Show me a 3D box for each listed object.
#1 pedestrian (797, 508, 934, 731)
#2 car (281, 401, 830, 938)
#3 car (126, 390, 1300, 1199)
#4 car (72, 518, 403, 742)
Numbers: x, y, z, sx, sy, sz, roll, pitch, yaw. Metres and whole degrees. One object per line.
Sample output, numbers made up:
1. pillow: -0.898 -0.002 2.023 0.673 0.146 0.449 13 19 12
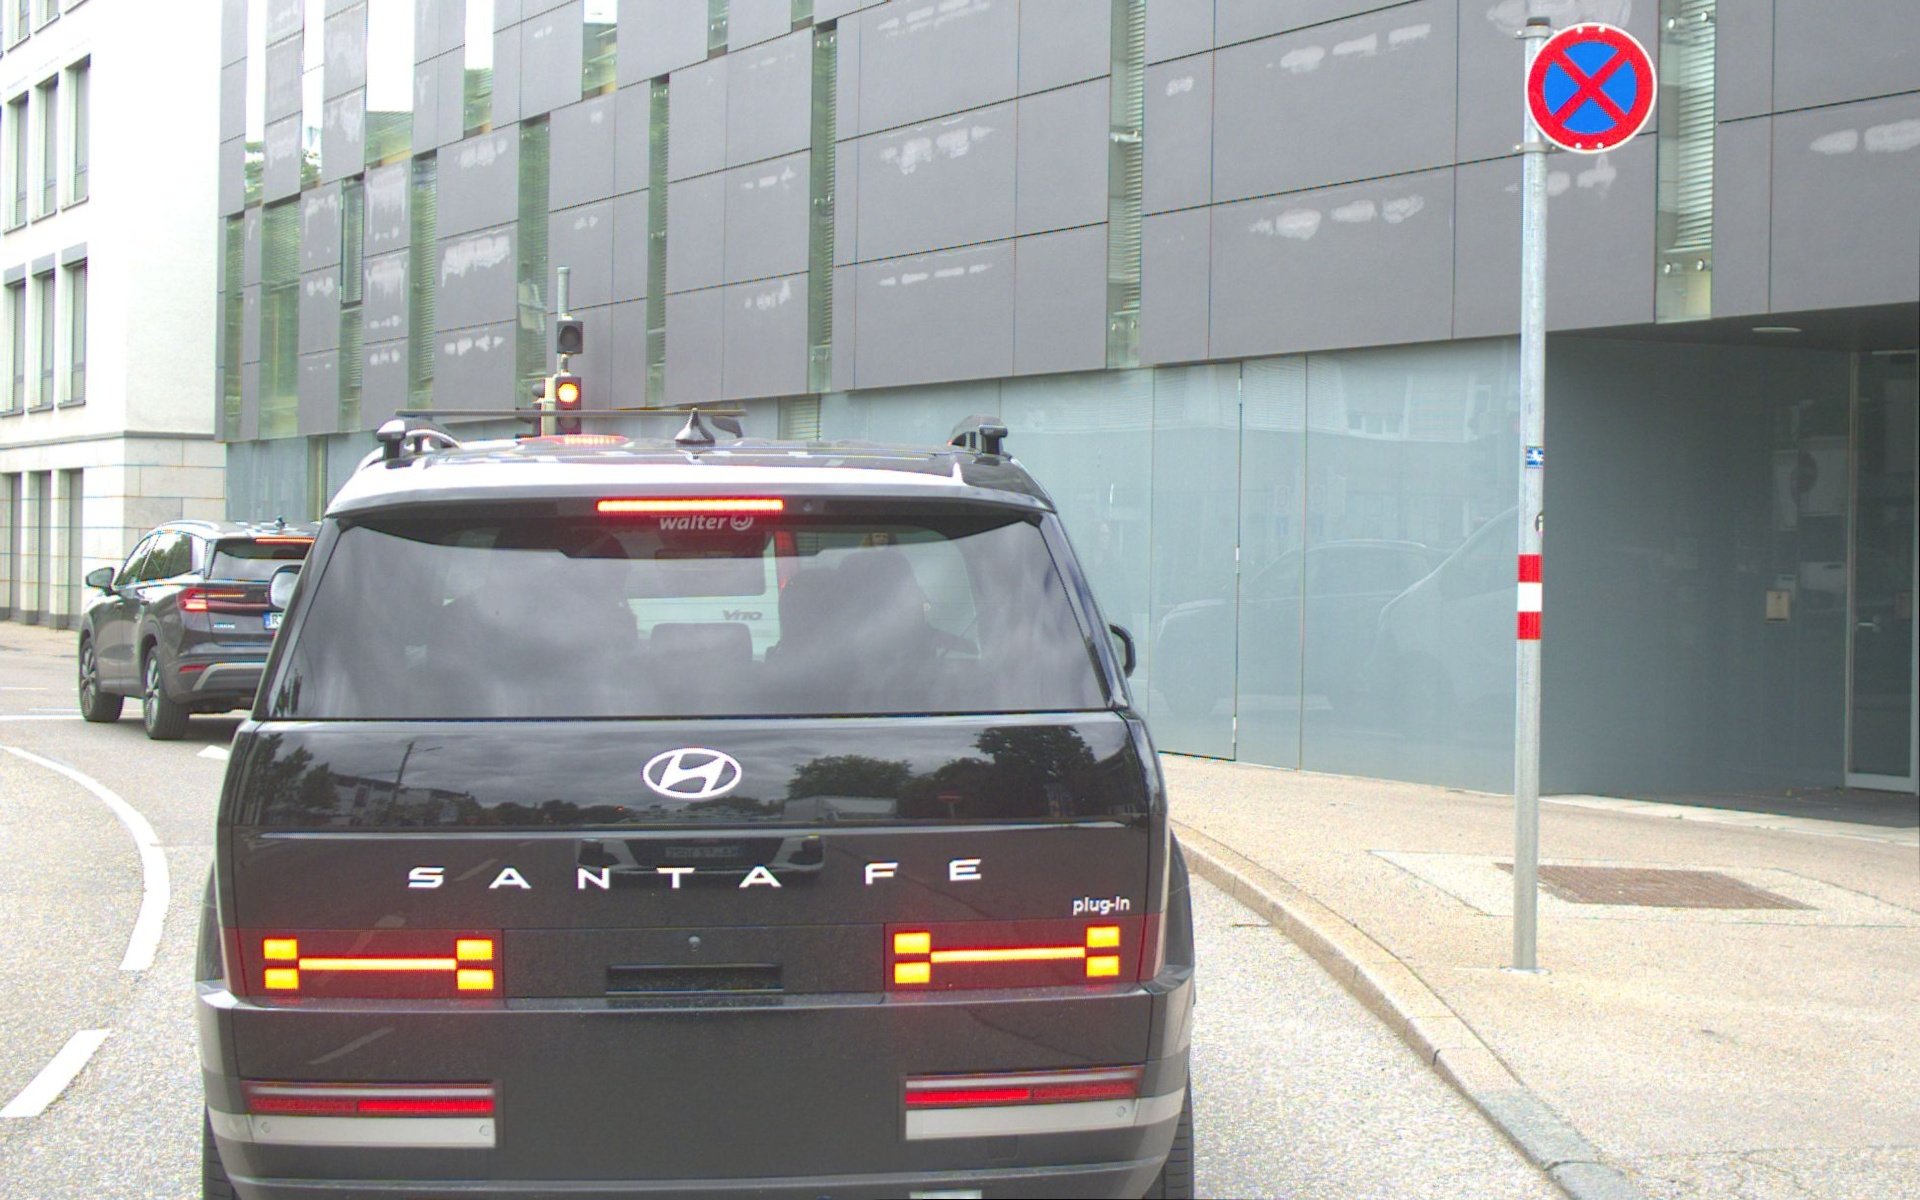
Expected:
1. pedestrian: -0.738 0.147 26.624 0.711 1.688 0.866 1 0 -27
2. car: -1.945 0.226 15.145 1.931 1.987 4.536 1 1 -12
3. car: -0.639 0.496 7.796 1.908 1.743 4.398 0 1 -7
4. car: -5.728 0.179 26.887 1.759 1.603 4.189 1 1 -23
